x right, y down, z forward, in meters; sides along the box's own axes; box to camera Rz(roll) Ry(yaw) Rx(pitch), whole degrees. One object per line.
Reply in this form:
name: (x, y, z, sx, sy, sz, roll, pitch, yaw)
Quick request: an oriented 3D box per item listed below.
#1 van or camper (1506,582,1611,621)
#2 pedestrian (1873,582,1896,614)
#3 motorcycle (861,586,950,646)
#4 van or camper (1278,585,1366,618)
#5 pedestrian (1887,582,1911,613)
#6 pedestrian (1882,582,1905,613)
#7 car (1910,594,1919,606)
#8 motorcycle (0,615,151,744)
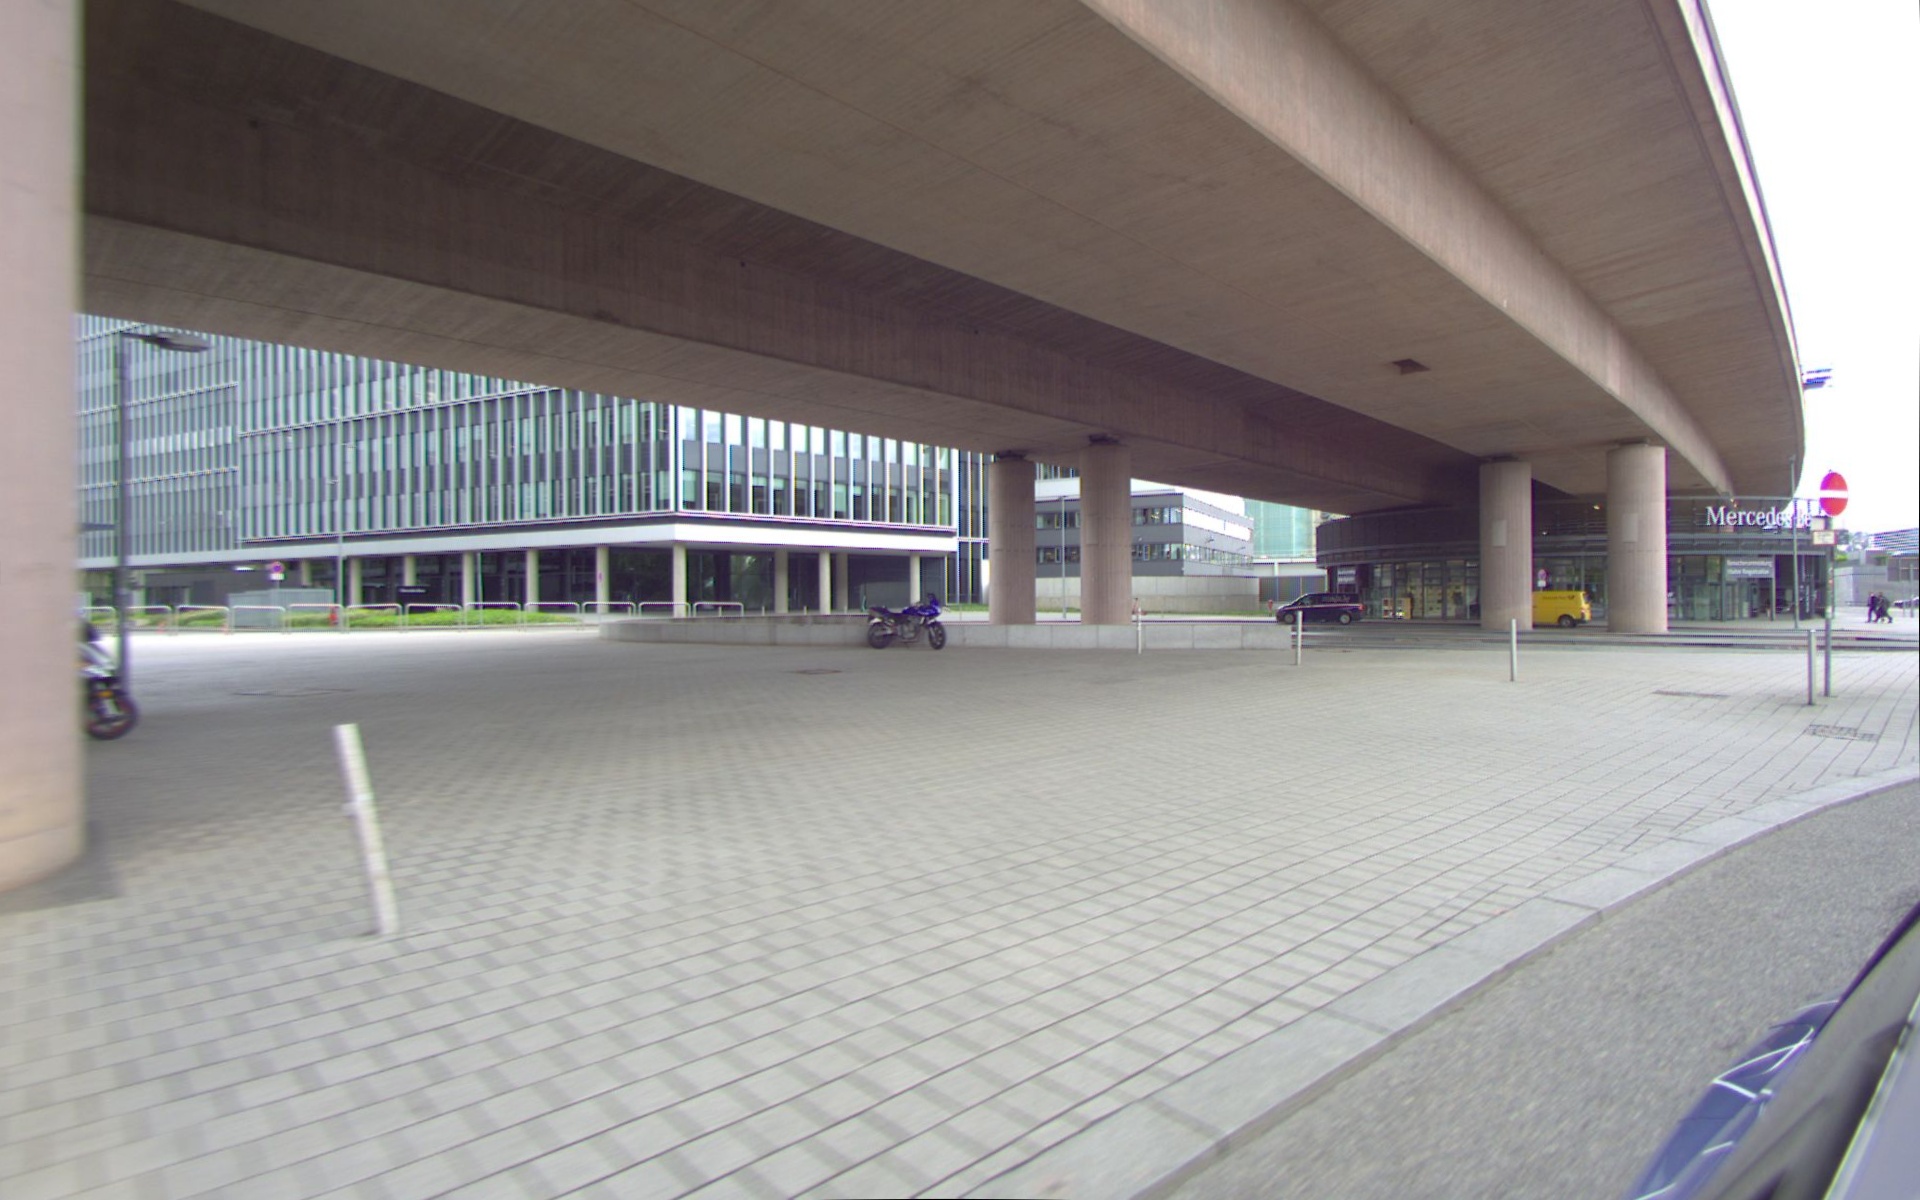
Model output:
van or camper: (32.182, 0.061, 54.493, 4.491, 2.024, 2.324, 0, 0, 45)
pedestrian: (52.537, -0.115, 57.521, 0.776, 1.821, 0.857, 0, -1, 28)
motorcycle: (-1.203, 0.334, 22.310, 1.921, 1.280, 0.543, 1, -1, 26)
van or camper: (21.857, 0.091, 61.107, 4.849, 1.917, 2.135, 1, -1, 25)
pedestrian: (51.843, -0.142, 55.869, 0.765, 1.727, 0.857, 0, -1, 27)
pedestrian: (52.240, -0.145, 56.628, 0.765, 1.727, 0.779, 0, -1, 27)
car: (111.835, 0.042, 115.471, 4.879, 1.416, 1.514, 1, -1, 37)
motorcycle: (-8.750, 0.767, 9.946, 1.127, 1.186, 0.522, -2, -1, -7)
